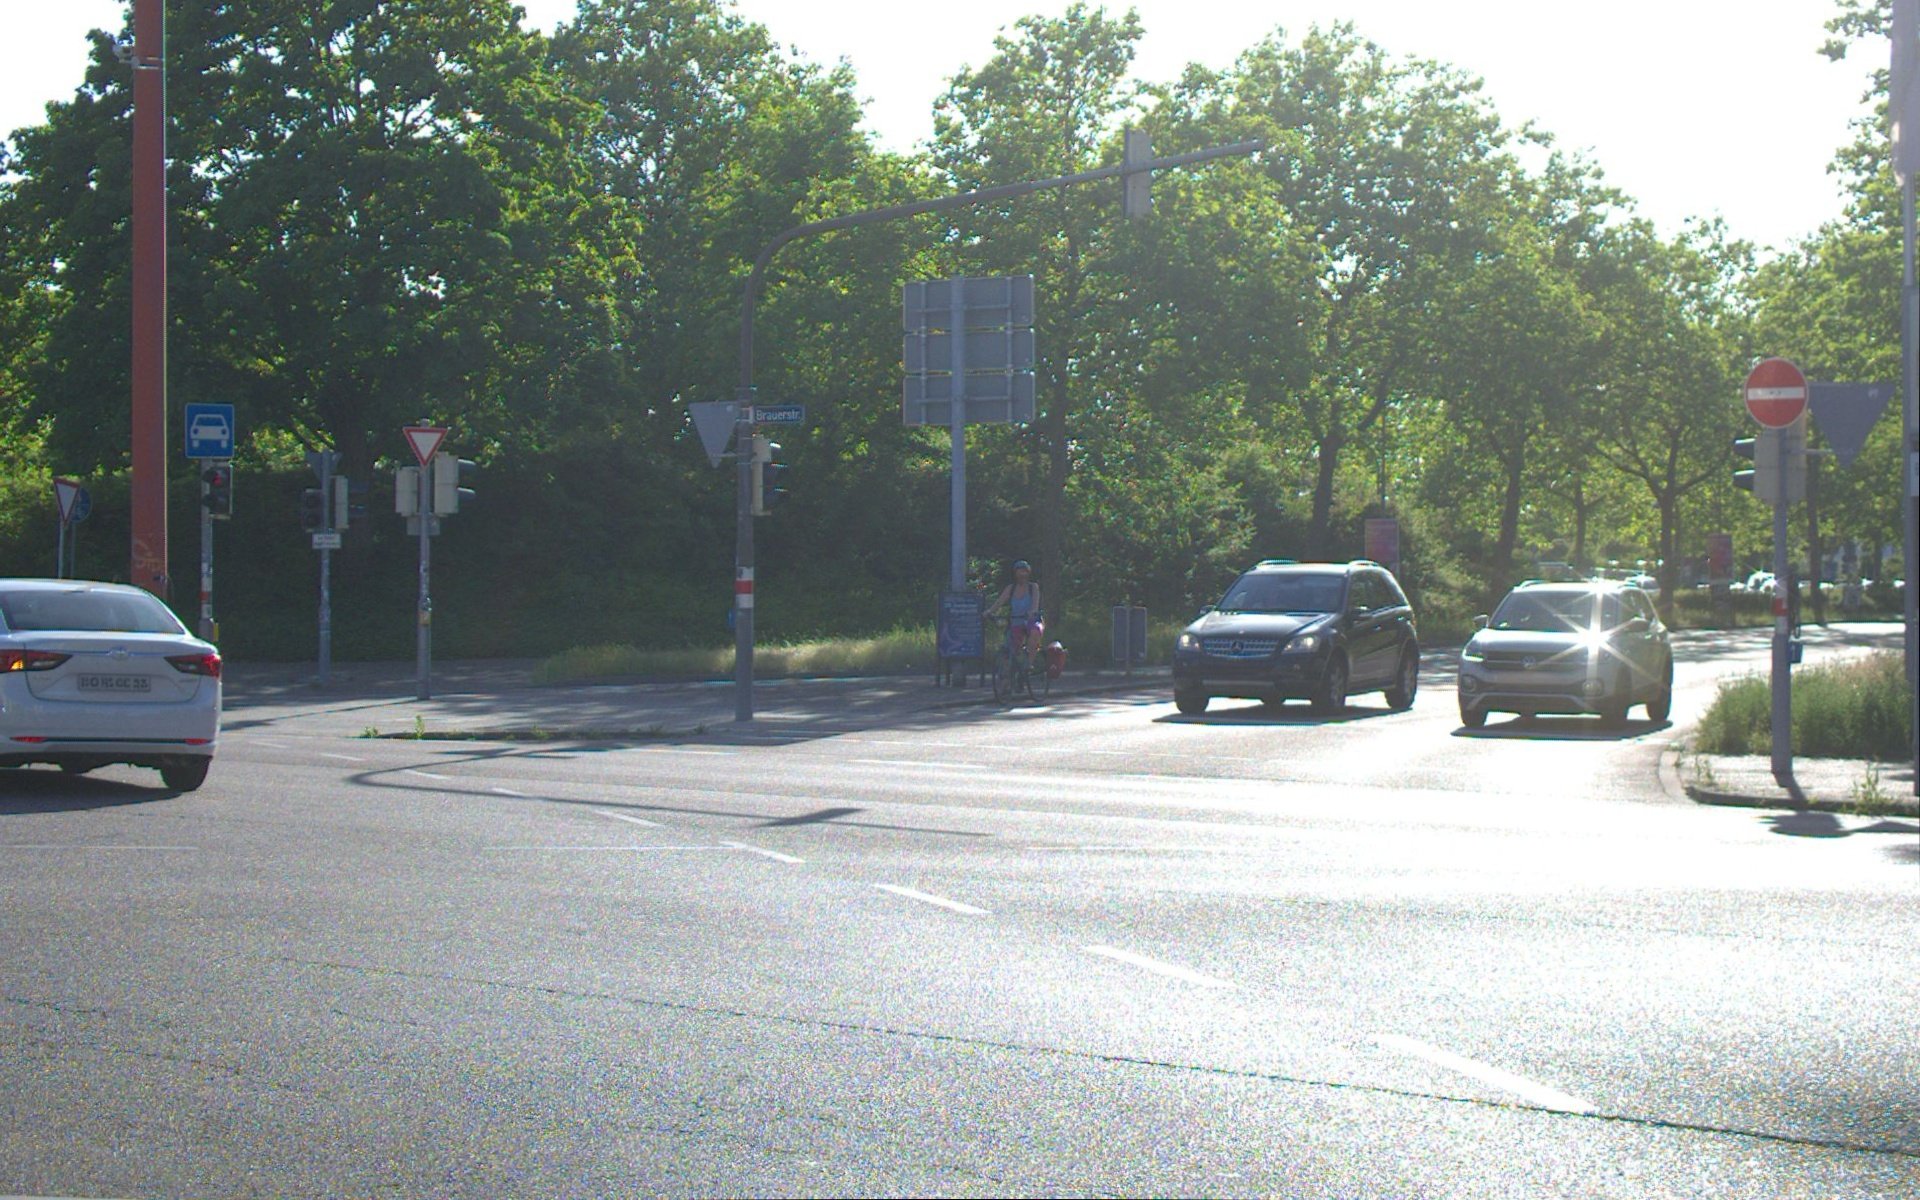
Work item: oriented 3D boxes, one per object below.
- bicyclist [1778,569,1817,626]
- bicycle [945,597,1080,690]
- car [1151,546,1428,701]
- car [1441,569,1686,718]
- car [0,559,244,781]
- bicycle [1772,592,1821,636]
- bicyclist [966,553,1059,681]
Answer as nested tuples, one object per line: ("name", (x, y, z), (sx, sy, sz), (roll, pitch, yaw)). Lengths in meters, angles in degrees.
("bicyclist", (21.130, -0.071, 86.693), (0.736, 1.431, 0.964), (0, 0, 28))
("bicycle", (0.660, 0.522, 42.490), (0.765, 1.088, 2.012), (0, 1, 31))
("car", (4.010, 0.257, 41.136), (1.904, 1.721, 4.647), (1, 0, 24))
("car", (6.737, 0.455, 38.071), (1.769, 1.533, 4.086), (1, 0, 23))
("car", (-6.765, 0.438, 24.764), (1.767, 1.459, 4.366), (1, 0, -31))
("bicycle", (21.073, 0.349, 86.586), (0.736, 1.088, 2.012), (0, 0, 28))
("bicyclist", (0.654, 0.202, 42.481), (0.760, 1.552, 0.979), (0, 1, 31))
